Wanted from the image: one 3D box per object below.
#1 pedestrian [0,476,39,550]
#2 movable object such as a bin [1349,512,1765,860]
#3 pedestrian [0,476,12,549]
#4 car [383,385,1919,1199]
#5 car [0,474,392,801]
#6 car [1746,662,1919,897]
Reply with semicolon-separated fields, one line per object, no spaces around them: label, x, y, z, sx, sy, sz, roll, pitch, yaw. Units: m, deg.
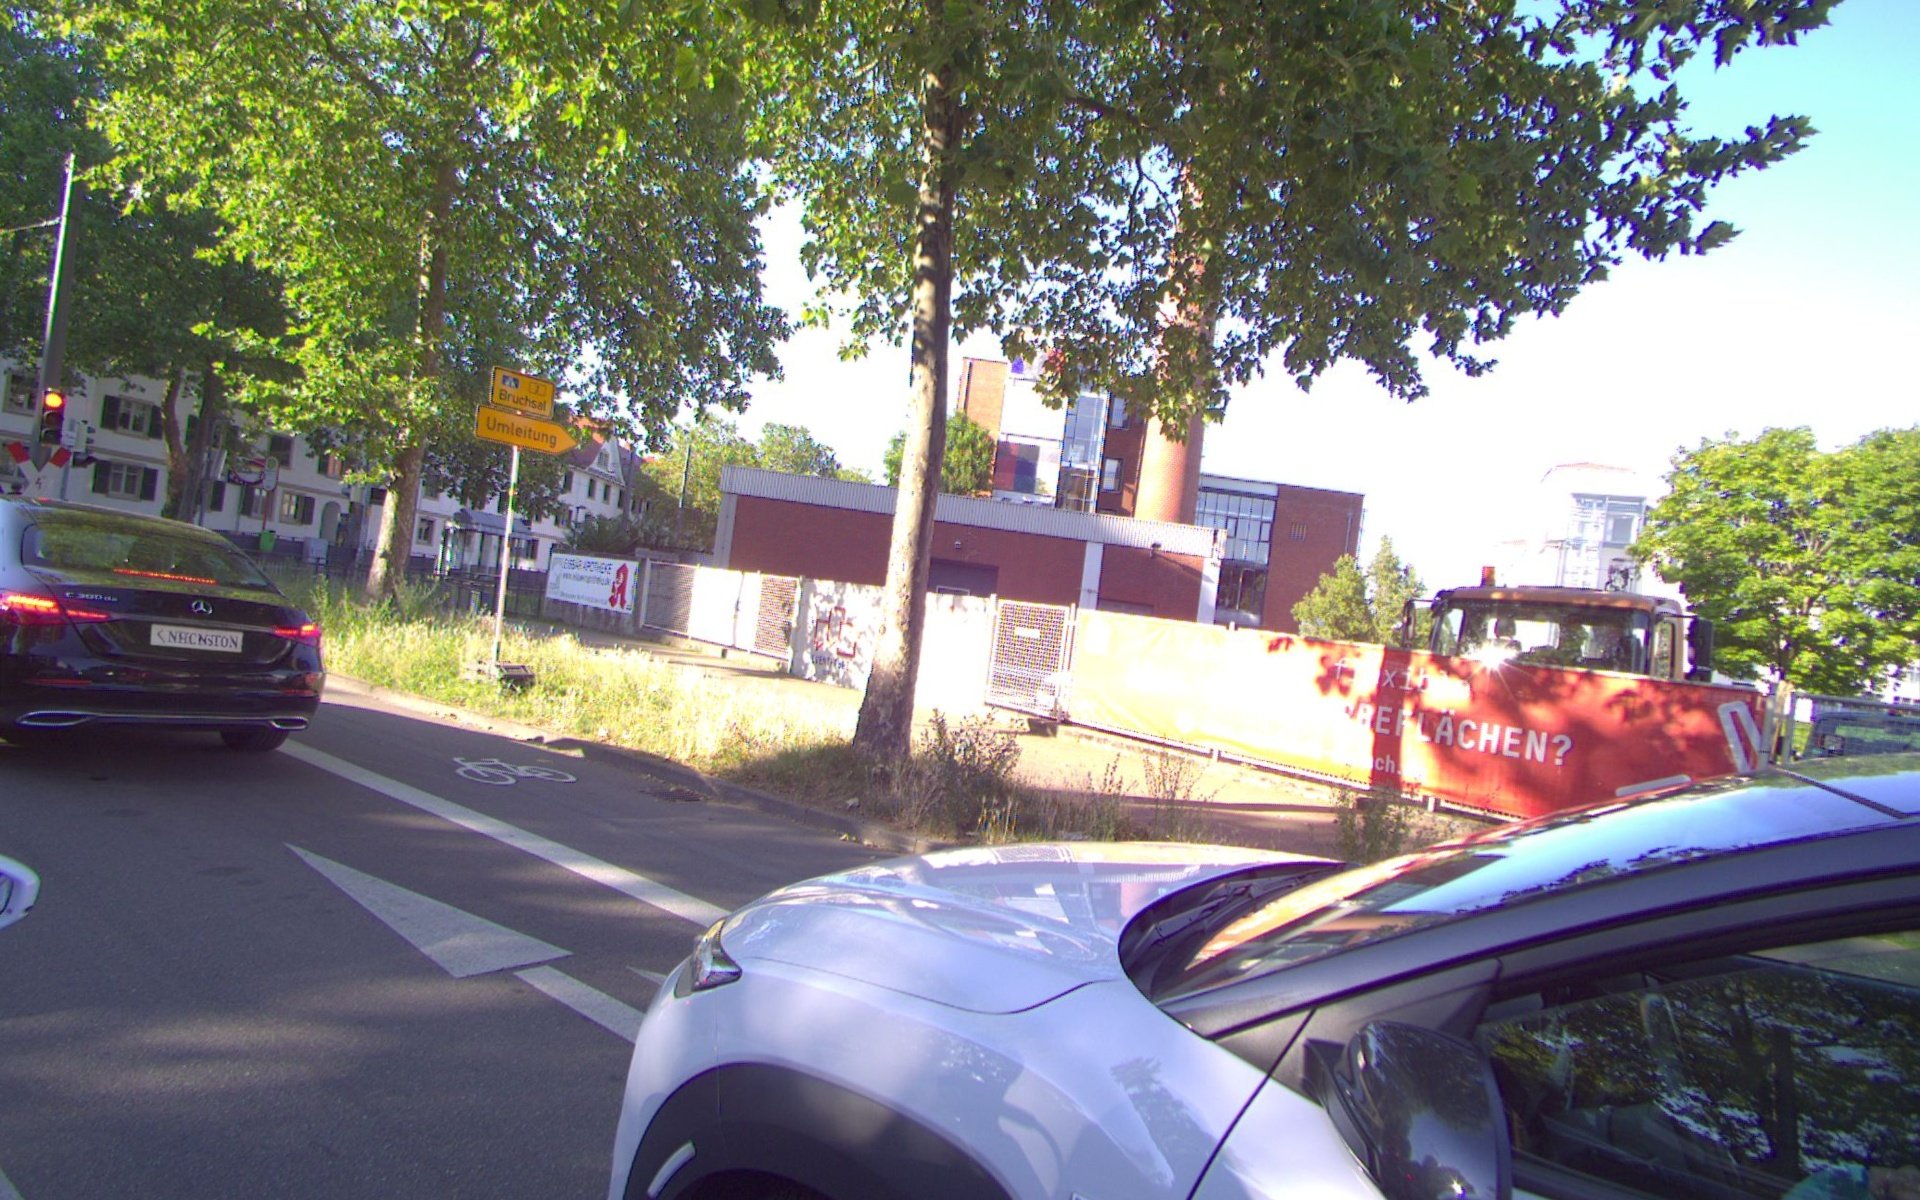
pedestrian;-26.519;-2.435;28.134;0.825;1.940;0.707;7;-1;28
movable object such as a bin;7.647;1.031;12.410;3.172;3.084;6.266;6;-2;41
pedestrian;-26.116;-2.399;26.914;0.825;1.940;0.707;7;-1;28
car;1.251;0.806;1.352;3.901;1.616;1.893;9;-1;33
car;-5.940;0.024;6.667;4.309;1.508;1.893;9;-1;33
car;9.576;1.821;10.152;2.016;1.849;4.583;6;-3;44
